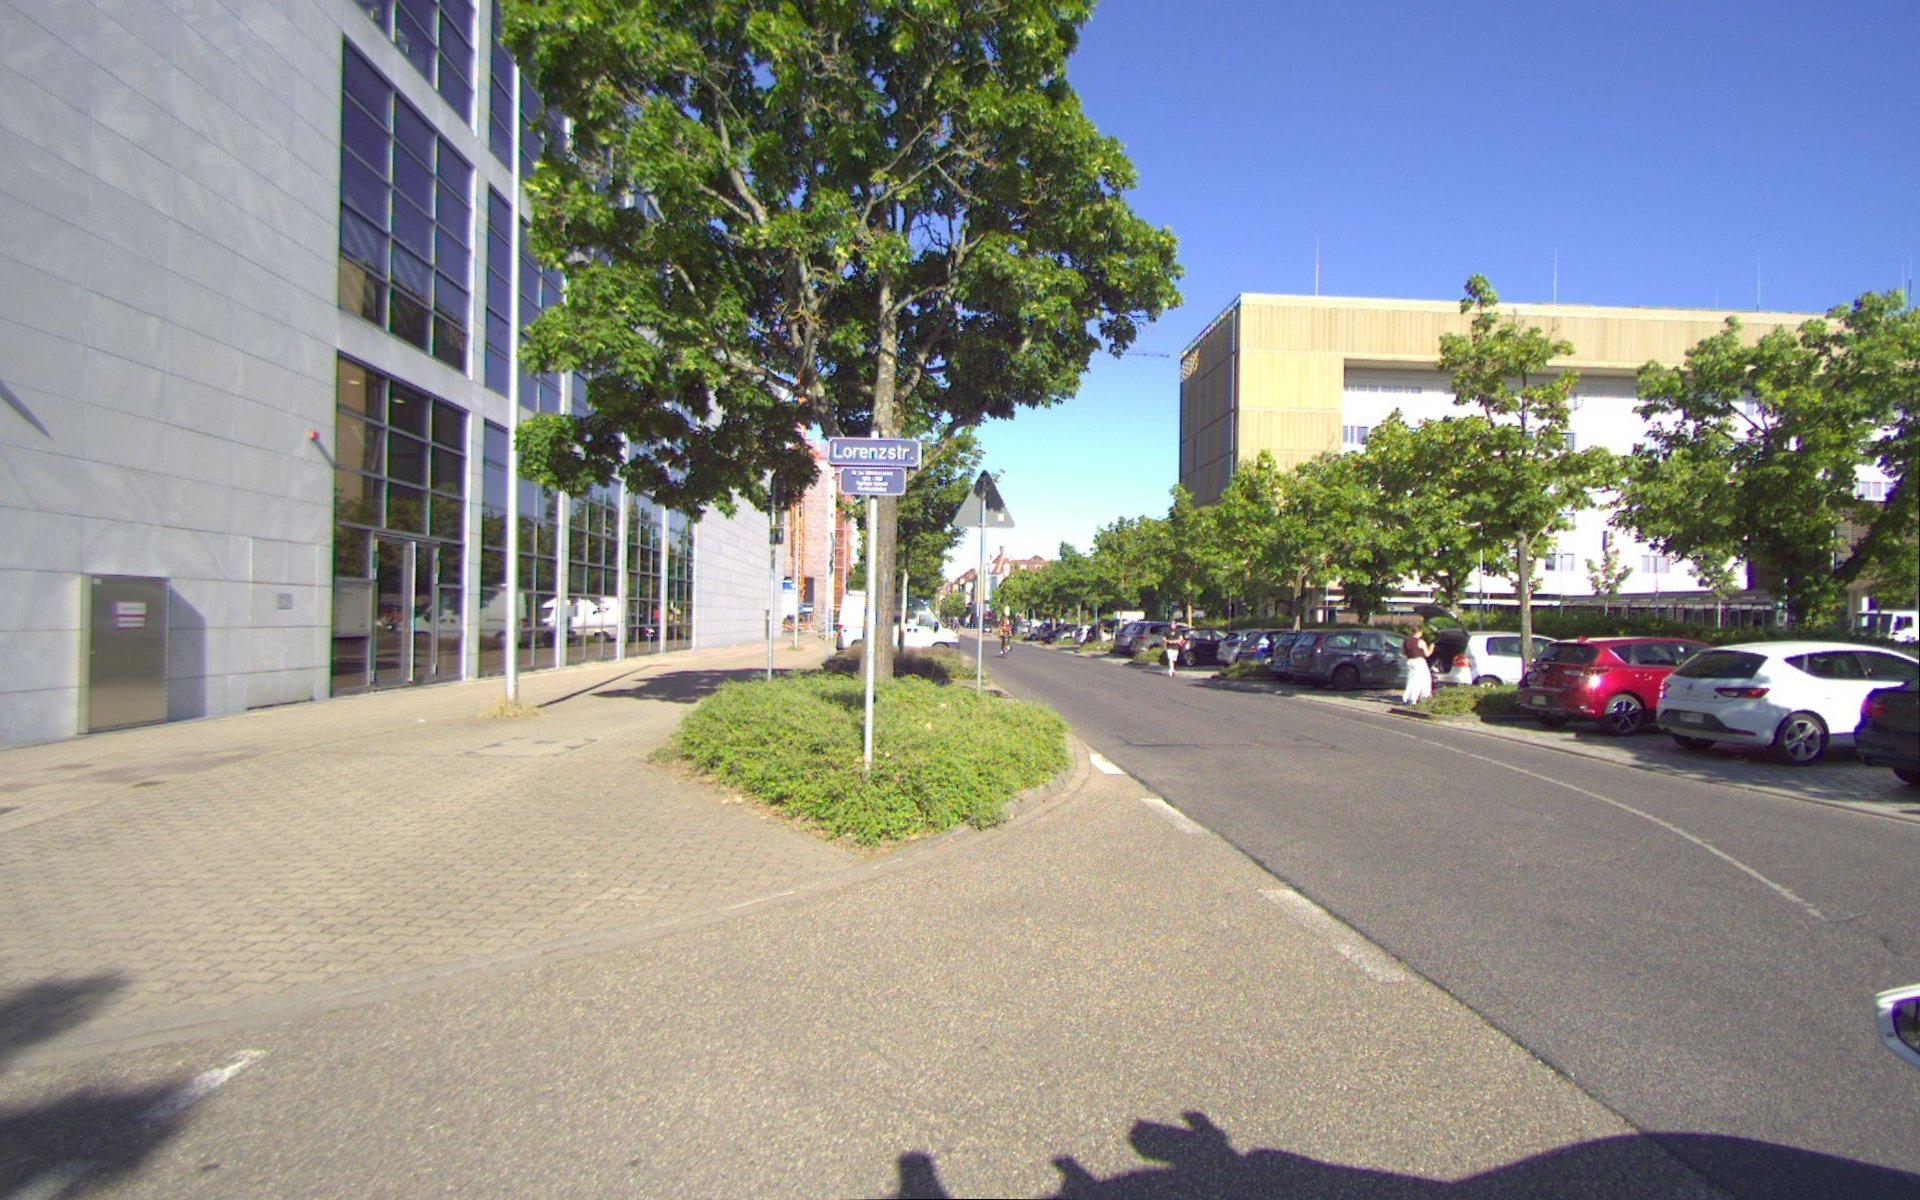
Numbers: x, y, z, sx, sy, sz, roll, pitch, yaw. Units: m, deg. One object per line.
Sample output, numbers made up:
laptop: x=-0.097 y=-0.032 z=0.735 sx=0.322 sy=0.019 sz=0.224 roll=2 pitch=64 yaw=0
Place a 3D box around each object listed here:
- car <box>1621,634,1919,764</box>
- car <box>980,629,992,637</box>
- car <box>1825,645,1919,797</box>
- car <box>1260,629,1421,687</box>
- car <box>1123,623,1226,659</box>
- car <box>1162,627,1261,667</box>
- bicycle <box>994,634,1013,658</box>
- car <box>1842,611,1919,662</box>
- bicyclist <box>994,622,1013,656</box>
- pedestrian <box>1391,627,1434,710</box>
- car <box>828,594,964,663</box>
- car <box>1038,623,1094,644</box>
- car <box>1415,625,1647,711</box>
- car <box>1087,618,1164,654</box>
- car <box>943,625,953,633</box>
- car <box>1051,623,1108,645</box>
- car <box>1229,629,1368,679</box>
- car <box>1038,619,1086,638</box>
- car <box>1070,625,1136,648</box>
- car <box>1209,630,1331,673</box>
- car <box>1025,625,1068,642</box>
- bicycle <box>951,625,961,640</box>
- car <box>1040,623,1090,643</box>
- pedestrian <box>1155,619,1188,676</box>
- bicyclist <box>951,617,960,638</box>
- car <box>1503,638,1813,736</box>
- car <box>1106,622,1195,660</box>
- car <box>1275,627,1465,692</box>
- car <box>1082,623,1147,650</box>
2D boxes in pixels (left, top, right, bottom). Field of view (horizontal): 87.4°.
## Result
car: x=11.036 y=1.214 z=13.006 sx=3.837 sy=1.456 sz=1.807 roll=-1 pitch=0 yaw=-5
car: x=5.145 y=6.541 z=199.914 sx=1.958 sy=1.494 sz=4.107 roll=1 pitch=0 yaw=-5
car: x=11.274 y=1.164 z=9.884 sx=4.089 sy=1.424 sz=1.828 roll=0 pitch=-1 yaw=-5
car: x=10.492 y=1.590 z=27.820 sx=3.837 sy=1.487 sz=1.620 roll=1 pitch=0 yaw=-5
car: x=9.824 y=1.857 z=46.102 sx=4.253 sy=1.629 sz=1.910 roll=0 pitch=-1 yaw=-6
car: x=9.864 y=1.837 z=39.562 sx=3.398 sy=1.508 sz=1.746 roll=0 pitch=-2 yaw=-5
bicycle: x=1.918 y=2.039 z=44.533 sx=0.745 sy=1.015 sz=1.871 roll=-1 pitch=-1 yaw=-1
car: x=47.594 y=1.817 z=51.053 sx=3.574 sy=2.524 sz=2.233 roll=0 pitch=-1 yaw=-1
bicyclist: x=1.923 y=1.722 z=44.572 sx=0.745 sy=1.450 sz=1.132 roll=-1 pitch=-1 yaw=-1
pedestrian: x=9.207 y=1.372 z=20.417 sx=0.752 sy=1.600 sz=0.673 roll=1 pitch=0 yaw=26
car: x=-2.523 y=1.135 z=40.372 sx=5.163 sy=2.450 sz=2.123 roll=3 pitch=-1 yaw=-2
car: x=8.159 y=2.589 z=77.641 sx=4.078 sy=1.601 sz=1.740 roll=0 pitch=-1 yaw=-4
car: x=11.566 y=1.359 z=20.491 sx=3.837 sy=1.599 sz=1.678 roll=1 pitch=0 yaw=-5
car: x=9.576 y=2.067 z=58.338 sx=4.053 sy=1.953 sz=1.977 roll=1 pitch=0 yaw=-5
car: x=-2.349 y=5.611 z=195.782 sx=1.782 sy=1.494 sz=4.109 roll=1 pitch=0 yaw=-2
car: x=8.607 y=2.418 z=72.457 sx=3.838 sy=1.506 sz=1.742 roll=1 pitch=-1 yaw=-4
car: x=10.783 y=1.700 z=32.187 sx=3.831 sy=1.517 sz=1.842 roll=0 pitch=-1 yaw=-1
car: x=8.828 y=2.489 z=87.034 sx=3.922 sy=1.603 sz=2.031 roll=1 pitch=-2 yaw=-2
car: x=9.285 y=2.386 z=65.382 sx=3.995 sy=1.444 sz=1.742 roll=0 pitch=-2 yaw=-1
car: x=10.683 y=1.760 z=34.765 sx=3.671 sy=1.435 sz=1.842 roll=0 pitch=-1 yaw=-1
car: x=7.864 y=3.039 z=91.805 sx=3.705 sy=1.478 sz=1.817 roll=1 pitch=-1 yaw=-3
bicycle: x=-0.327 y=2.505 z=78.008 sx=0.686 sy=1.125 sz=2.080 roll=0 pitch=-1 yaw=2
car: x=8.785 y=2.782 z=84.295 sx=3.922 sy=1.558 sz=1.861 roll=1 pitch=-2 yaw=-2
pedestrian: x=6.772 y=1.509 z=32.169 sx=0.707 sy=1.794 sz=1.168 roll=-1 pitch=-1 yaw=-4
bicyclist: x=-0.327 y=2.105 z=78.067 sx=0.672 sy=1.602 sz=1.061 roll=0 pitch=-1 yaw=2
car: x=10.910 y=1.339 z=15.863 sx=3.837 sy=1.445 sz=1.672 roll=1 pitch=-2 yaw=-5
car: x=9.166 y=1.942 z=48.472 sx=3.837 sy=1.718 sz=1.939 roll=1 pitch=0 yaw=-5
car: x=10.280 y=1.471 z=25.352 sx=4.119 sy=1.540 sz=1.735 roll=0 pitch=-1 yaw=-5
car: x=9.352 y=2.191 z=60.956 sx=3.549 sy=1.570 sz=1.706 roll=1 pitch=0 yaw=-5
